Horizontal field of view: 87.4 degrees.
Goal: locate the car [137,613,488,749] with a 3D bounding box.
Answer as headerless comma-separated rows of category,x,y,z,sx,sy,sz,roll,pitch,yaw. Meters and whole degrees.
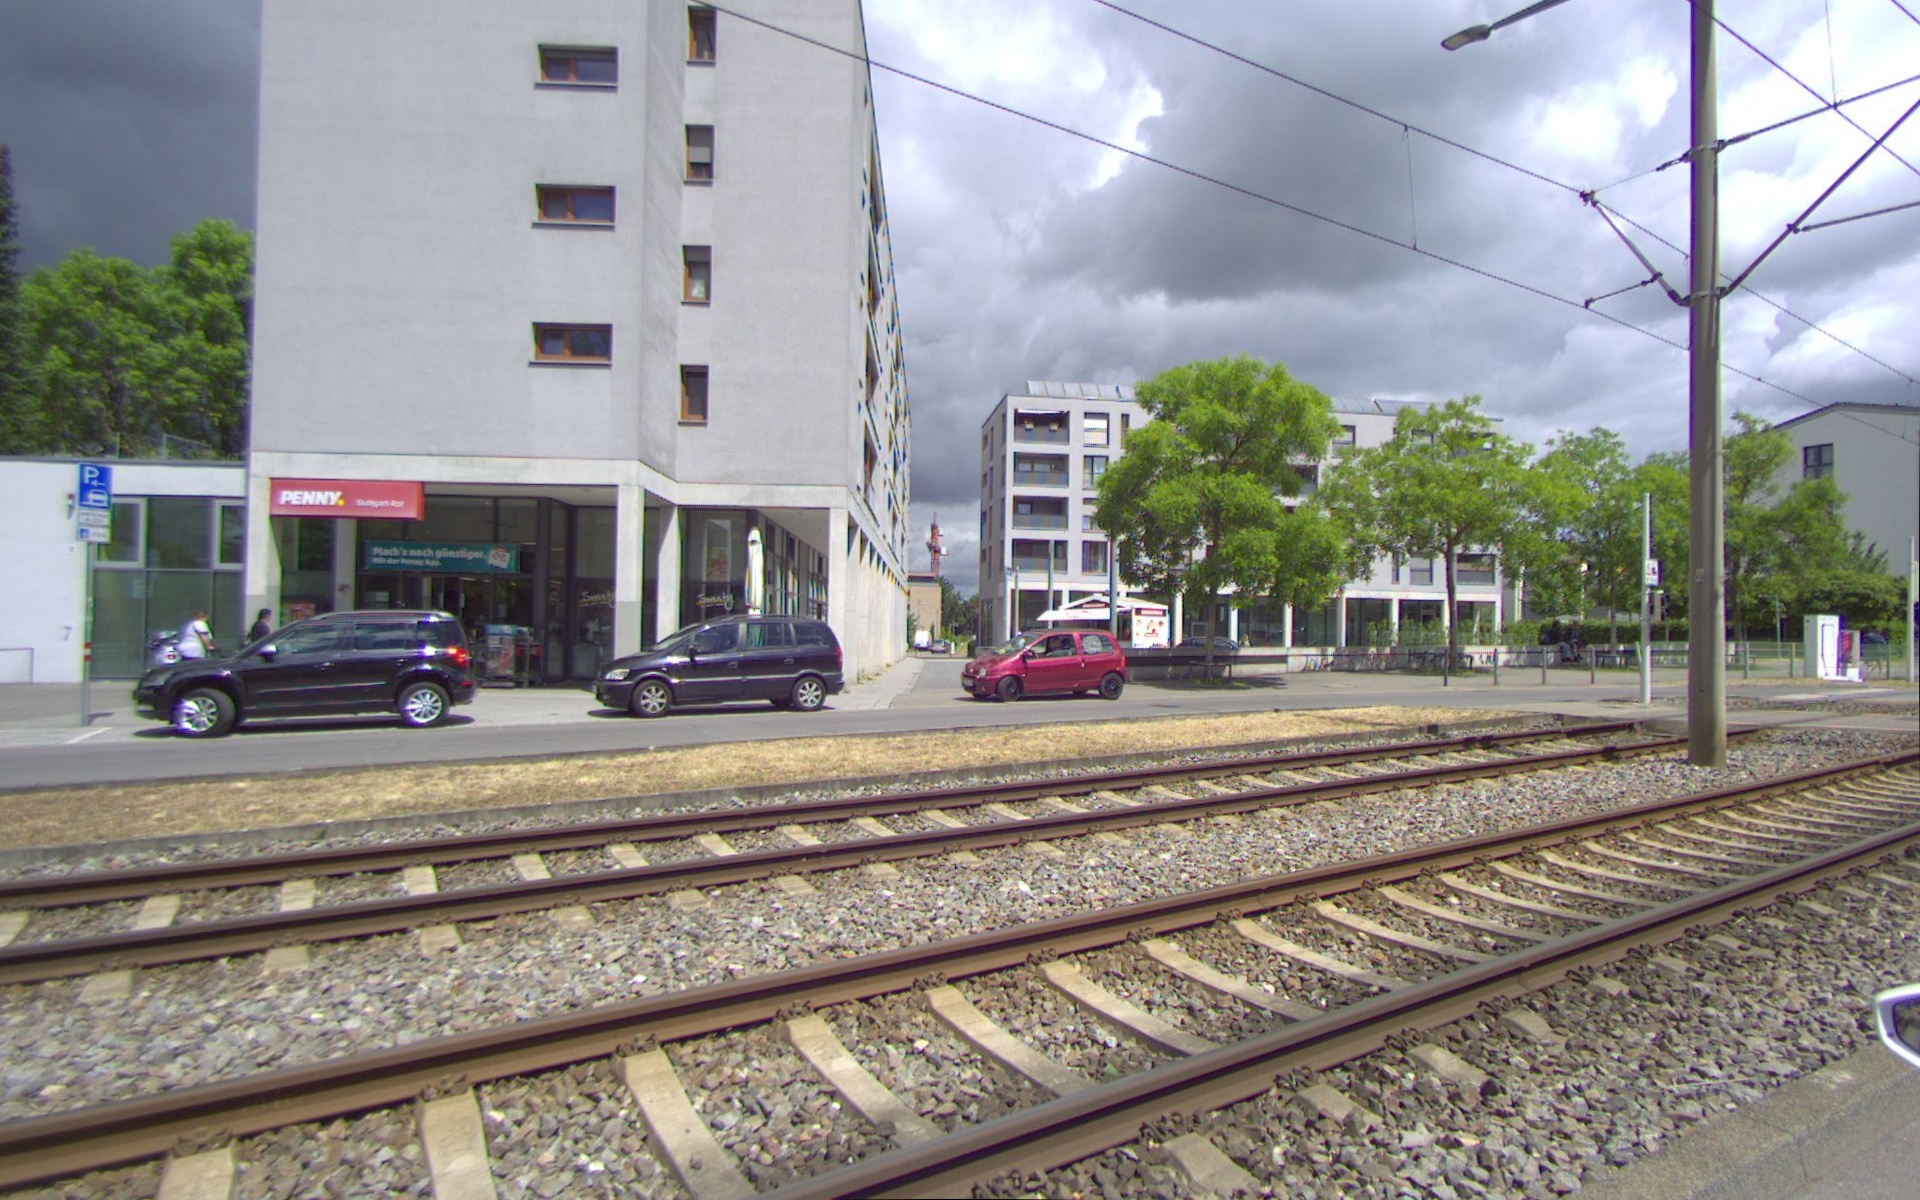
car,-9.236,1.058,14.688,4.053,1.685,1.983,0,0,-32

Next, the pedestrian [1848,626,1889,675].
pedestrian,31.641,1.747,34.995,0.857,1.683,0.747,0,-2,-25

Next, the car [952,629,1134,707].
car,1.695,1.355,20.716,3.374,1.445,1.610,-1,-2,-23

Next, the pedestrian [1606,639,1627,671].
pedestrian,26.791,2.240,41.004,0.449,1.263,0.545,-1,-2,-8

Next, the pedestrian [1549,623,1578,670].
pedestrian,20.760,1.606,34.557,0.549,1.594,0.622,-1,-2,-18

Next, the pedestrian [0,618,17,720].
pedestrian,-15.124,1.068,15.286,0.957,1.554,0.601,-1,-2,-17

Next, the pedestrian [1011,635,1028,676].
pedestrian,2.887,2.689,48.982,0.768,1.967,0.830,-1,-2,1

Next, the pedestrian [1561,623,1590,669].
pedestrian,21.465,1.601,35.055,0.550,1.594,0.621,-1,-2,-24

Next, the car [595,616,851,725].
car,-4.170,1.174,17.686,4.046,1.669,1.987,0,-2,-27

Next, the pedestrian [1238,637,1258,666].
pedestrian,11.077,1.970,38.642,0.566,1.110,0.500,0,-1,-4

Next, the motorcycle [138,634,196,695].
motorcycle,-16.629,1.332,21.098,0.733,1.194,1.882,0,-2,-31

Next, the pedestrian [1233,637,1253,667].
pedestrian,10.585,1.944,37.592,0.566,1.110,0.500,0,-1,-4
